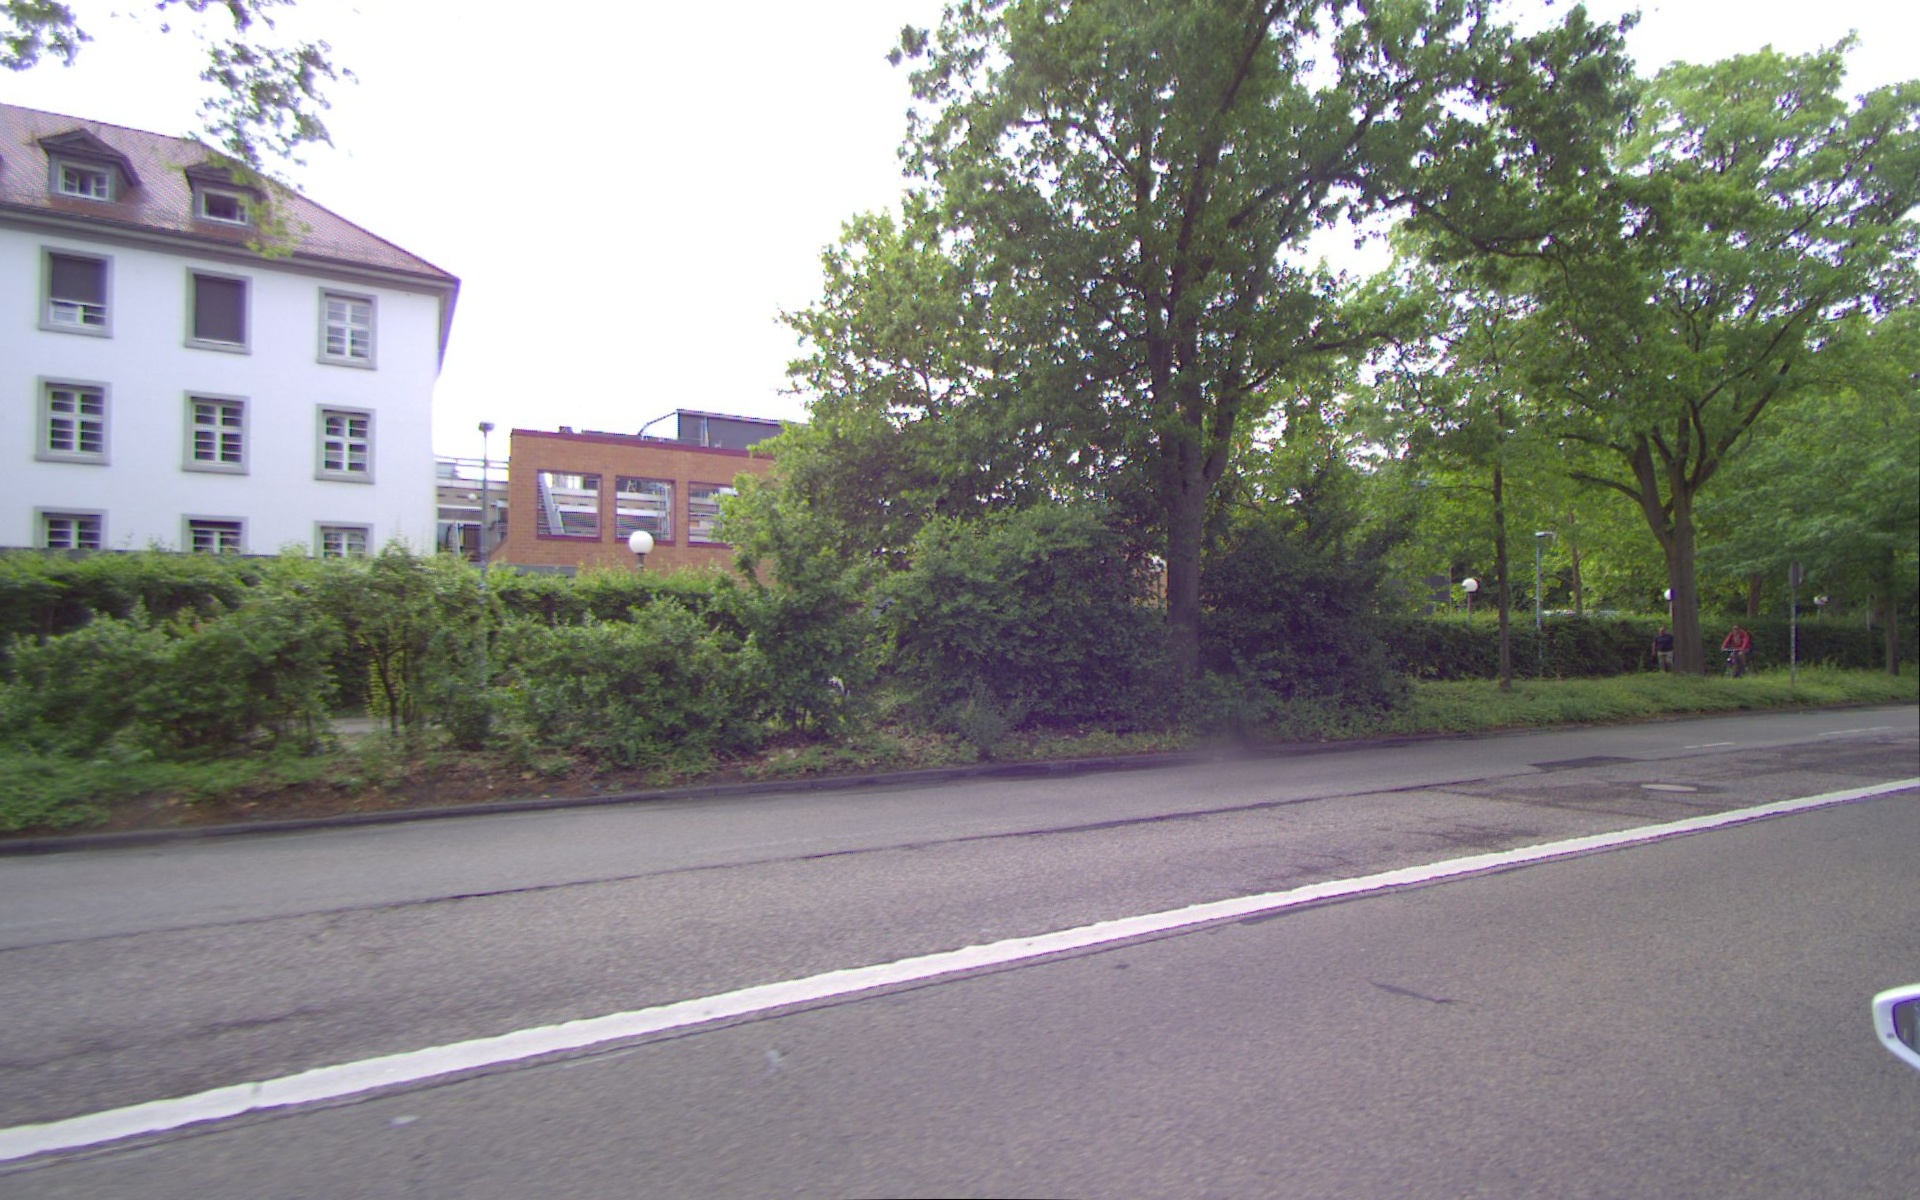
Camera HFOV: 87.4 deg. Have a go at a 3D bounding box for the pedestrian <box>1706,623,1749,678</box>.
[{"bbox_3d":[23.470,1.536,30.729,0.838,1.635,0.788,1,0,-30],"label":"pedestrian"}]
